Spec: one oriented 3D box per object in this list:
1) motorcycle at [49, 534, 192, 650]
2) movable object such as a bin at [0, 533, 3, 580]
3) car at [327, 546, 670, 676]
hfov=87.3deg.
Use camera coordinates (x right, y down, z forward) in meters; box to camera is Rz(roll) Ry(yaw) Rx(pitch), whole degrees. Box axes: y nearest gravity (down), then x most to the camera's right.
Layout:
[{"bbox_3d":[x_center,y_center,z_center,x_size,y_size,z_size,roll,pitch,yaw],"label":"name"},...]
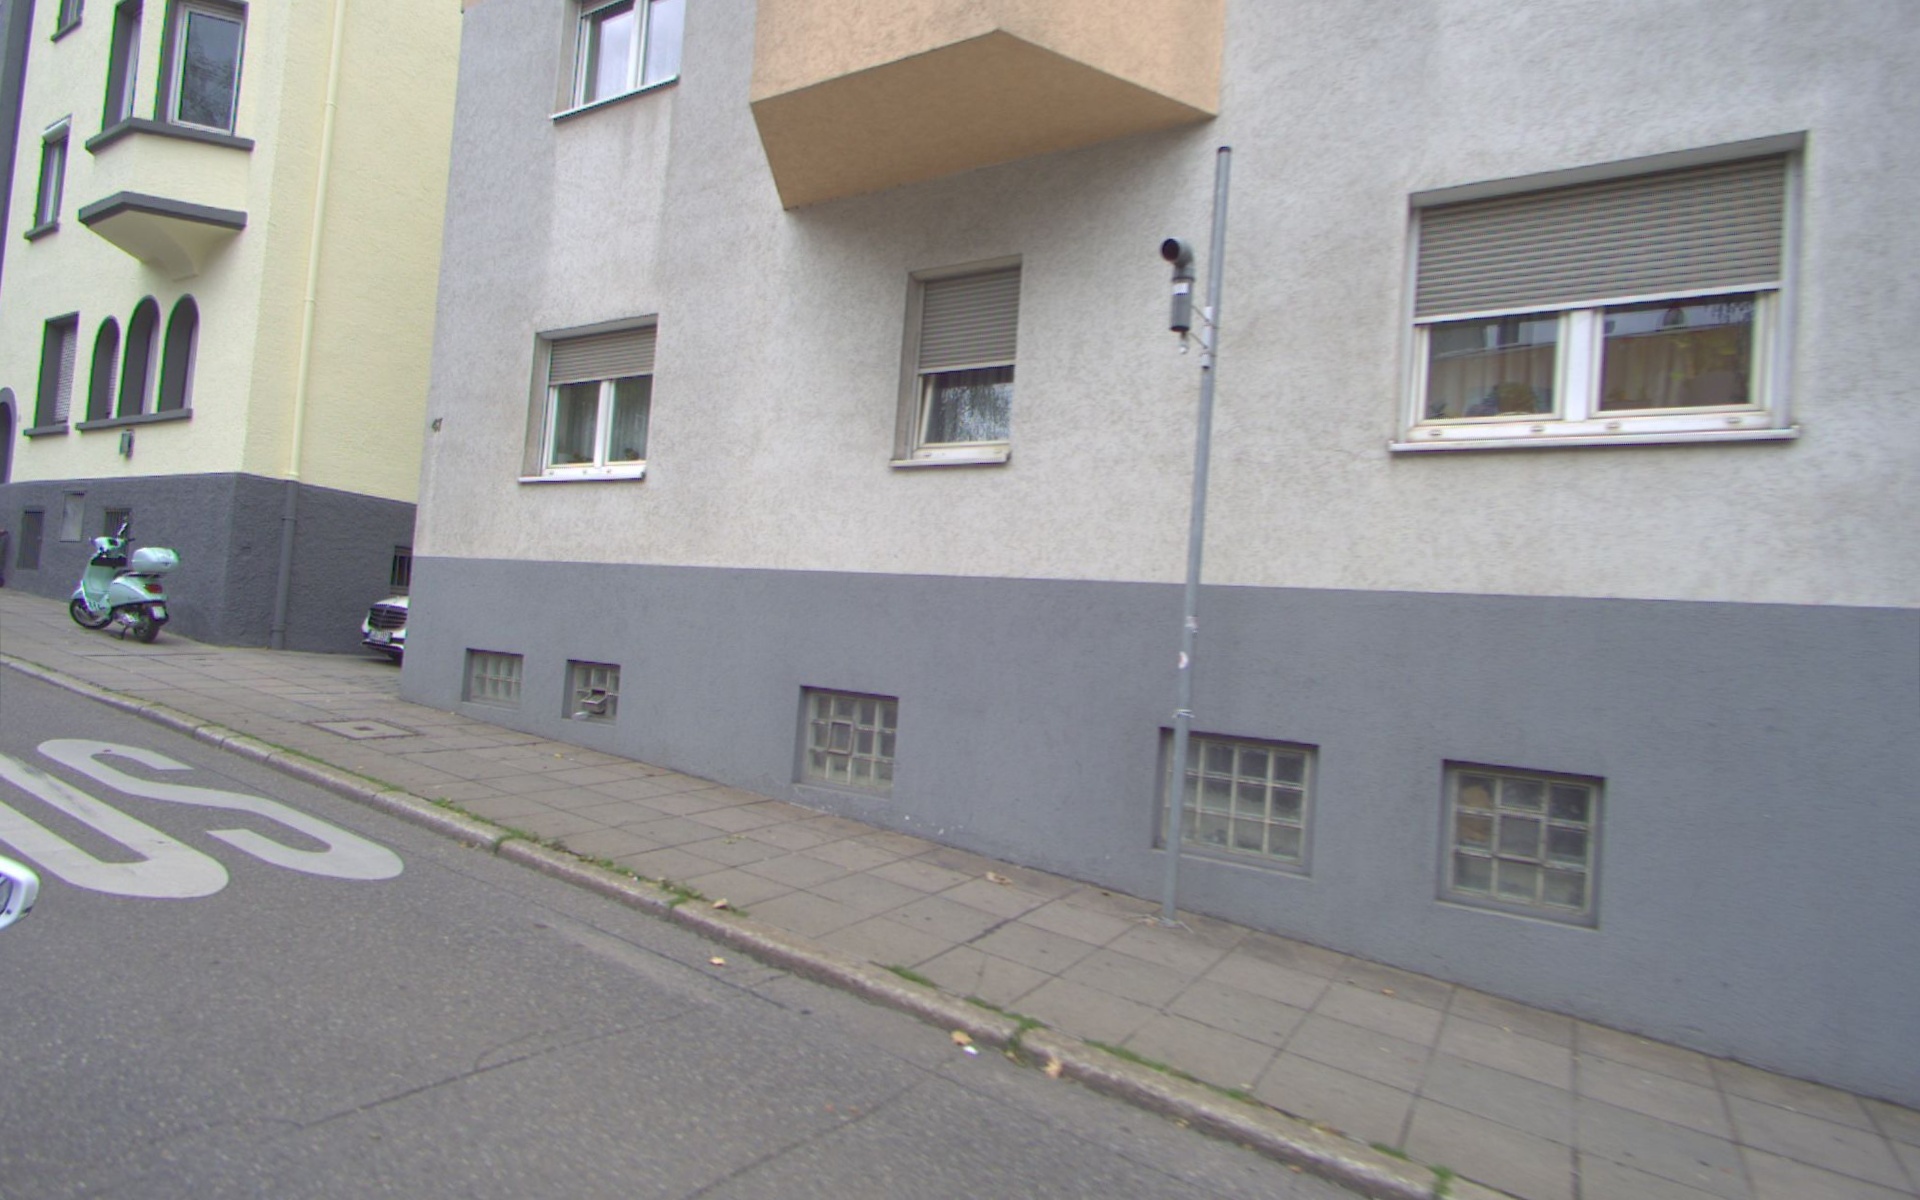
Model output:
[{"bbox_3d":[-10.190,-0.117,12.182,2.188,1.171,0.538,7,2,29],"label":"motorcycle"},{"bbox_3d":[-15.713,-0.653,16.060,0.508,0.904,0.475,7,2,31],"label":"movable object such as a bin"},{"bbox_3d":[-6.373,0.237,14.326,1.854,1.441,3.991,7,0,32],"label":"car"}]
